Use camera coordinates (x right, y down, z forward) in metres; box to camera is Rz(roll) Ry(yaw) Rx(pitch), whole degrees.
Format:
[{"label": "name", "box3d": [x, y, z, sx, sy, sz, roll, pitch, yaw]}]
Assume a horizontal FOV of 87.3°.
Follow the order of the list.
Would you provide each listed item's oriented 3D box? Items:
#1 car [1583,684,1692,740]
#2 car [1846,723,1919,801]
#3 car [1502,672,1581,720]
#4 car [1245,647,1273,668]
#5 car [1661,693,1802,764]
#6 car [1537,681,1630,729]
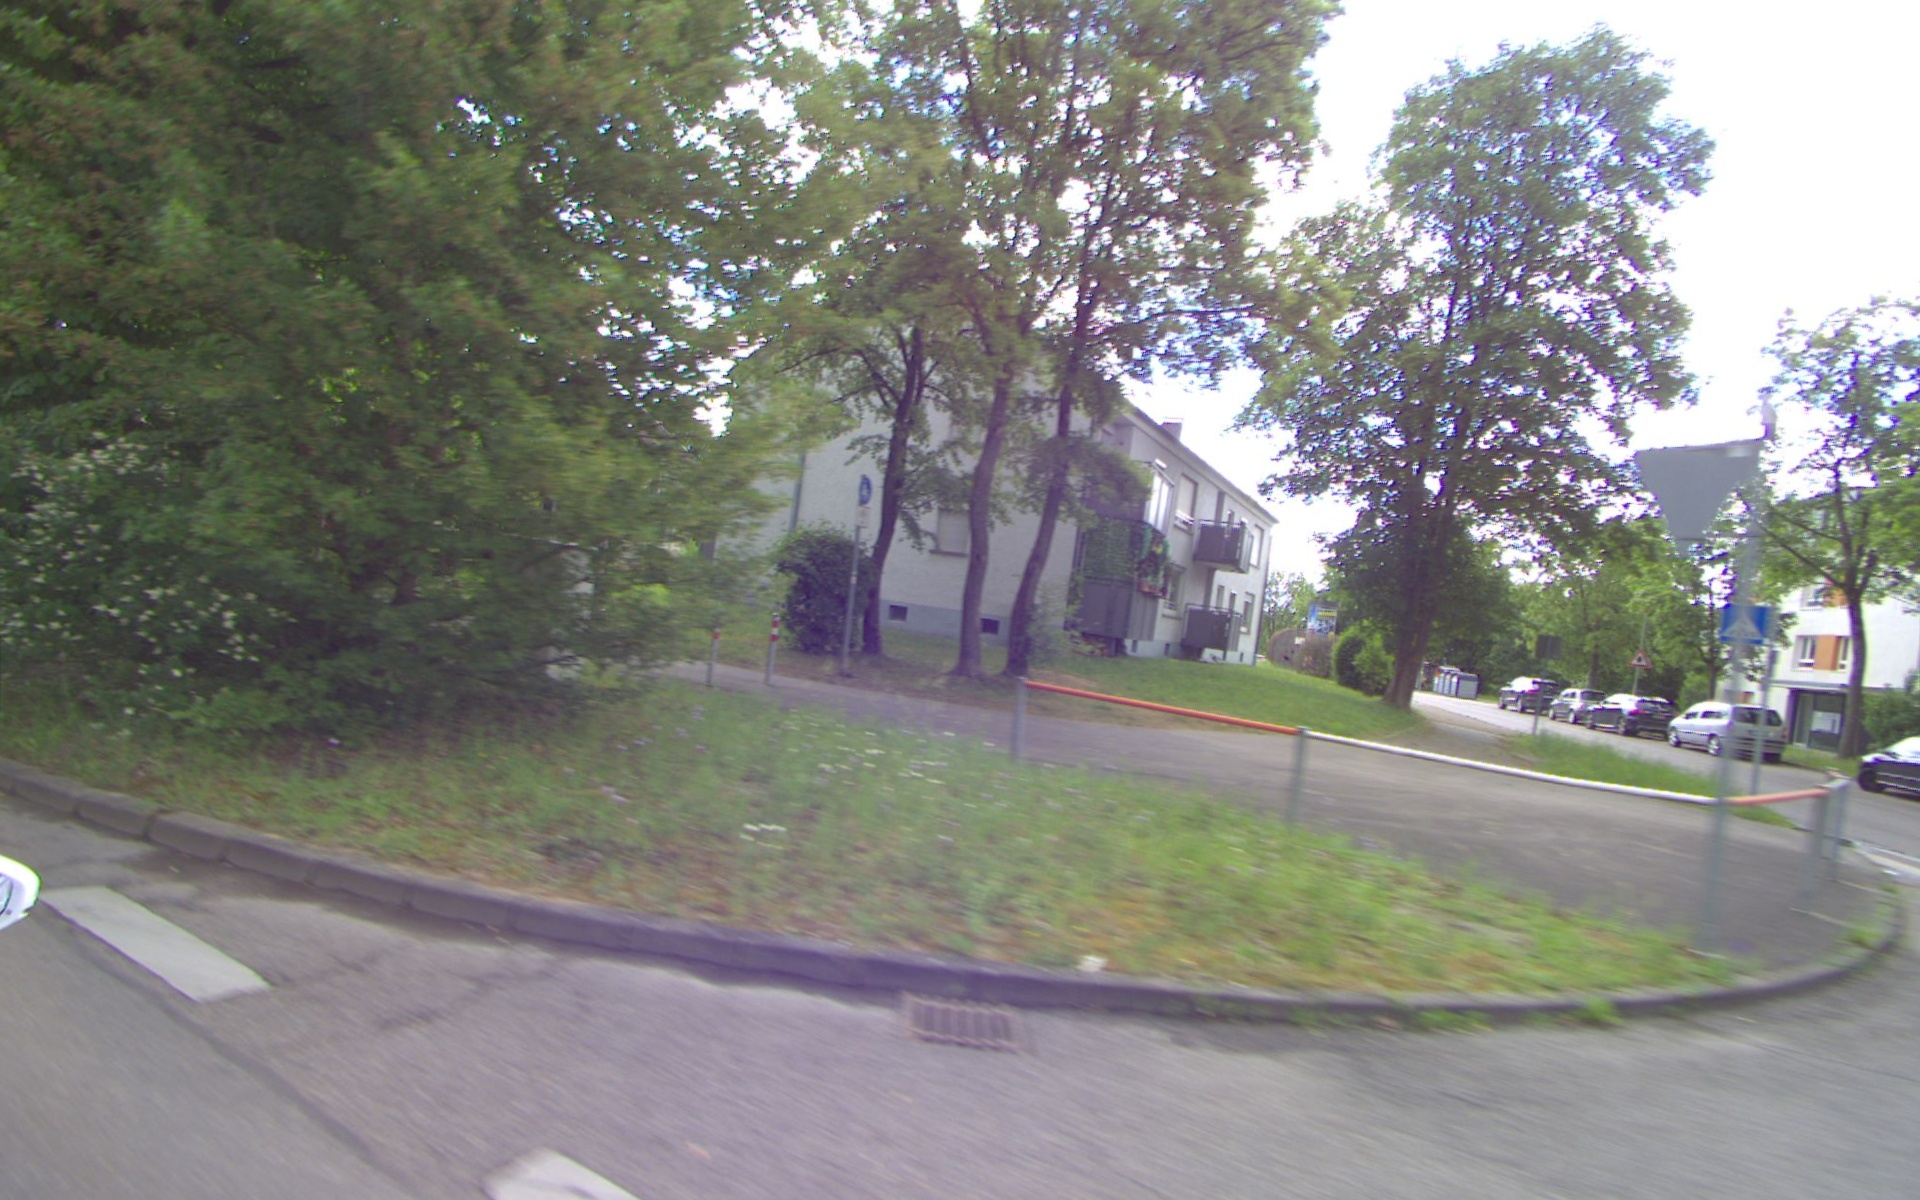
[{"label": "car", "box3d": [24.940, 4.080, 37.210, 1.757, 1.532, 3.961, 7, -1, 11]}, {"label": "car", "box3d": [21.224, 3.627, 21.530, 1.606, 1.482, 3.776, 7, -1, 12]}, {"label": "car", "box3d": [27.970, 4.583, 48.549, 1.989, 1.809, 4.327, 7, -1, 14]}, {"label": "car", "box3d": [32.369, 6.214, 108.969, 1.962, 1.908, 4.001, 7, 0, 4]}, {"label": "car", "box3d": [23.665, 3.895, 31.052, 1.757, 1.593, 4.003, 7, -1, 12]}, {"label": "car", "box3d": [26.340, 4.416, 42.672, 2.084, 1.532, 3.960, 7, -1, 14]}]
